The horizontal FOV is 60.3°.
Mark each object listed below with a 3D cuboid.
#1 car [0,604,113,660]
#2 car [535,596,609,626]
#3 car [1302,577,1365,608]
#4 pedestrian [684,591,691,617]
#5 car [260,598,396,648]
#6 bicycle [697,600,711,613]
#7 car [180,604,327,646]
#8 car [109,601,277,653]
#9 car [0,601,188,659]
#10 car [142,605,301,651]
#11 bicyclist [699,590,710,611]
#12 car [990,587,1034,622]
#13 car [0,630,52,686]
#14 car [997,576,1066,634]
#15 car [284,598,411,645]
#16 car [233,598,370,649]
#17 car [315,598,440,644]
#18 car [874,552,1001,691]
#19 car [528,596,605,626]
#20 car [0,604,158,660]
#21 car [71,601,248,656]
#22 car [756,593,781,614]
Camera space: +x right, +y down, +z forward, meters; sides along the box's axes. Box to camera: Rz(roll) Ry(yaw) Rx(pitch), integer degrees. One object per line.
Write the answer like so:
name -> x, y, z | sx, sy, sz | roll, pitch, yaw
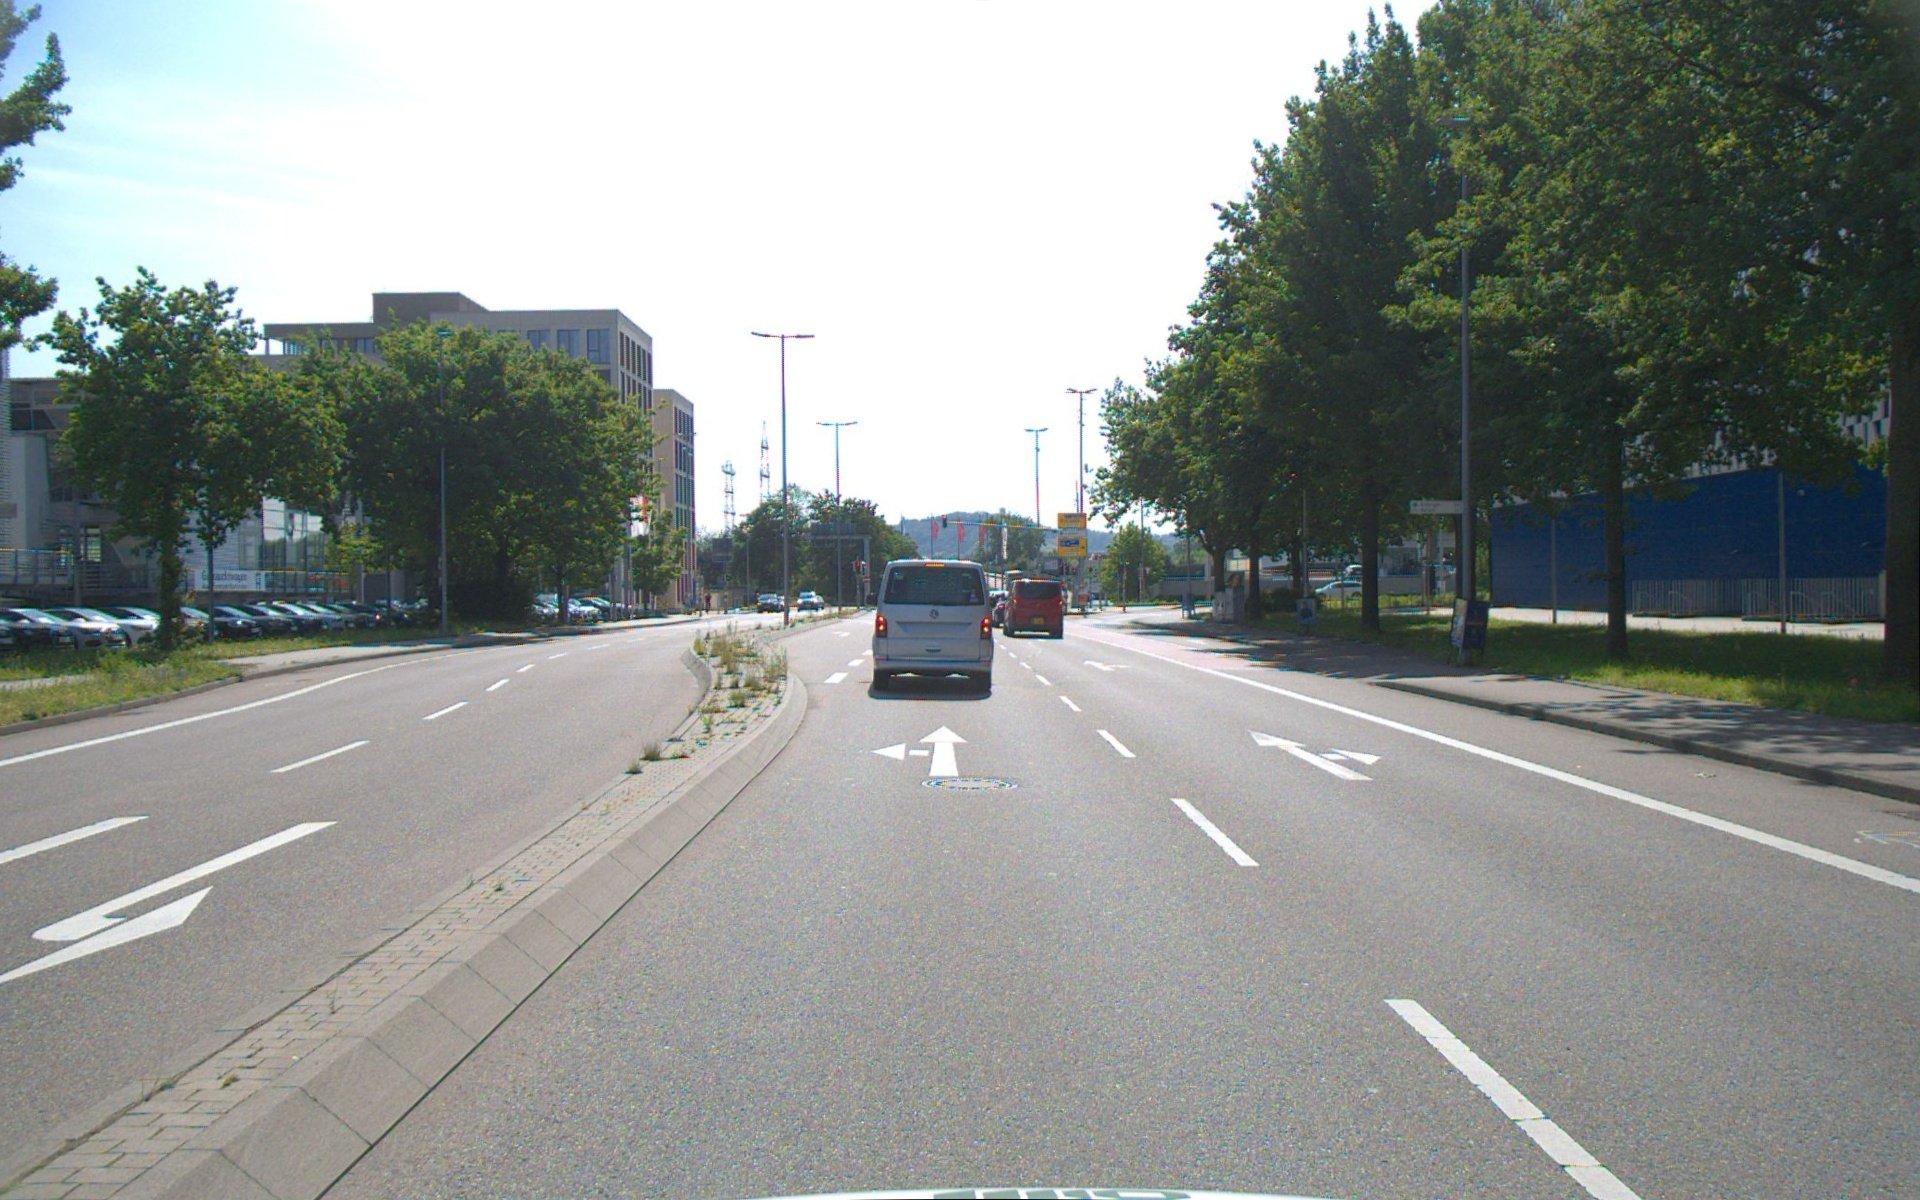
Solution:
car -> -23.161, 0.854, 40.350 | 3.908, 1.176, 1.896 | -4, 1, -3
car -> -22.694, 0.630, 96.745 | 3.794, 1.388, 1.749 | -4, 1, 3
car -> 27.920, -0.541, 123.565 | 4.310, 2.029, 1.482 | -3, 0, 4
pedestrian -> -21.567, 0.280, 130.794 | 0.548, 2.049, 0.575 | 1, 0, -9
car -> -23.314, 0.845, 61.152 | 4.162, 1.467, 2.000 | -5, 0, 0
bicycle -> -19.637, 0.464, 126.865 | 0.666, 0.957, 1.973 | -2, 0, 0
car -> -23.241, 0.816, 54.486 | 4.027, 1.052, 1.696 | -4, 1, -3
car -> -23.163, 0.787, 50.038 | 4.091, 1.211, 1.954 | -4, 1, -3
car -> -23.647, 0.799, 45.214 | 4.091, 1.211, 1.954 | -4, 1, -3
car -> -23.226, 0.860, 52.130 | 4.091, 1.096, 1.954 | -4, 1, -3
bicyclist -> -19.642, 0.021, 127.226 | 0.606, 1.553, 1.036 | -2, 0, 0
car -> 2.252, 0.182, 72.432 | 1.711, 1.484, 4.475 | 1, 0, -1
car -> -23.128, 1.441, 37.536 | 3.908, 1.176, 1.896 | -4, 1, -3
car -> 2.530, 0.158, 59.565 | 1.928, 2.002, 5.122 | 1, 0, -4
car -> -23.524, 0.814, 63.617 | 4.056, 1.467, 2.000 | -5, 0, 0
car -> -23.173, 0.816, 58.324 | 3.906, 1.467, 2.000 | -5, 0, 0
car -> -23.363, 0.841, 66.435 | 4.218, 1.467, 2.051 | -5, 0, -1
car -> -0.352, 0.305, 26.253 | 1.846, 2.025, 3.999 | 1, 0, -1
car -> -22.428, 0.632, 94.302 | 3.794, 1.356, 1.849 | -4, 1, 3
car -> -23.324, 0.844, 42.751 | 4.091, 1.176, 2.086 | -4, 1, -3
car -> -23.163, 0.810, 47.969 | 4.091, 1.211, 1.954 | -4, 1, -3
car -> -16.133, 0.306, 139.629 | 1.704, 1.646, 4.207 | -3, 0, -3
